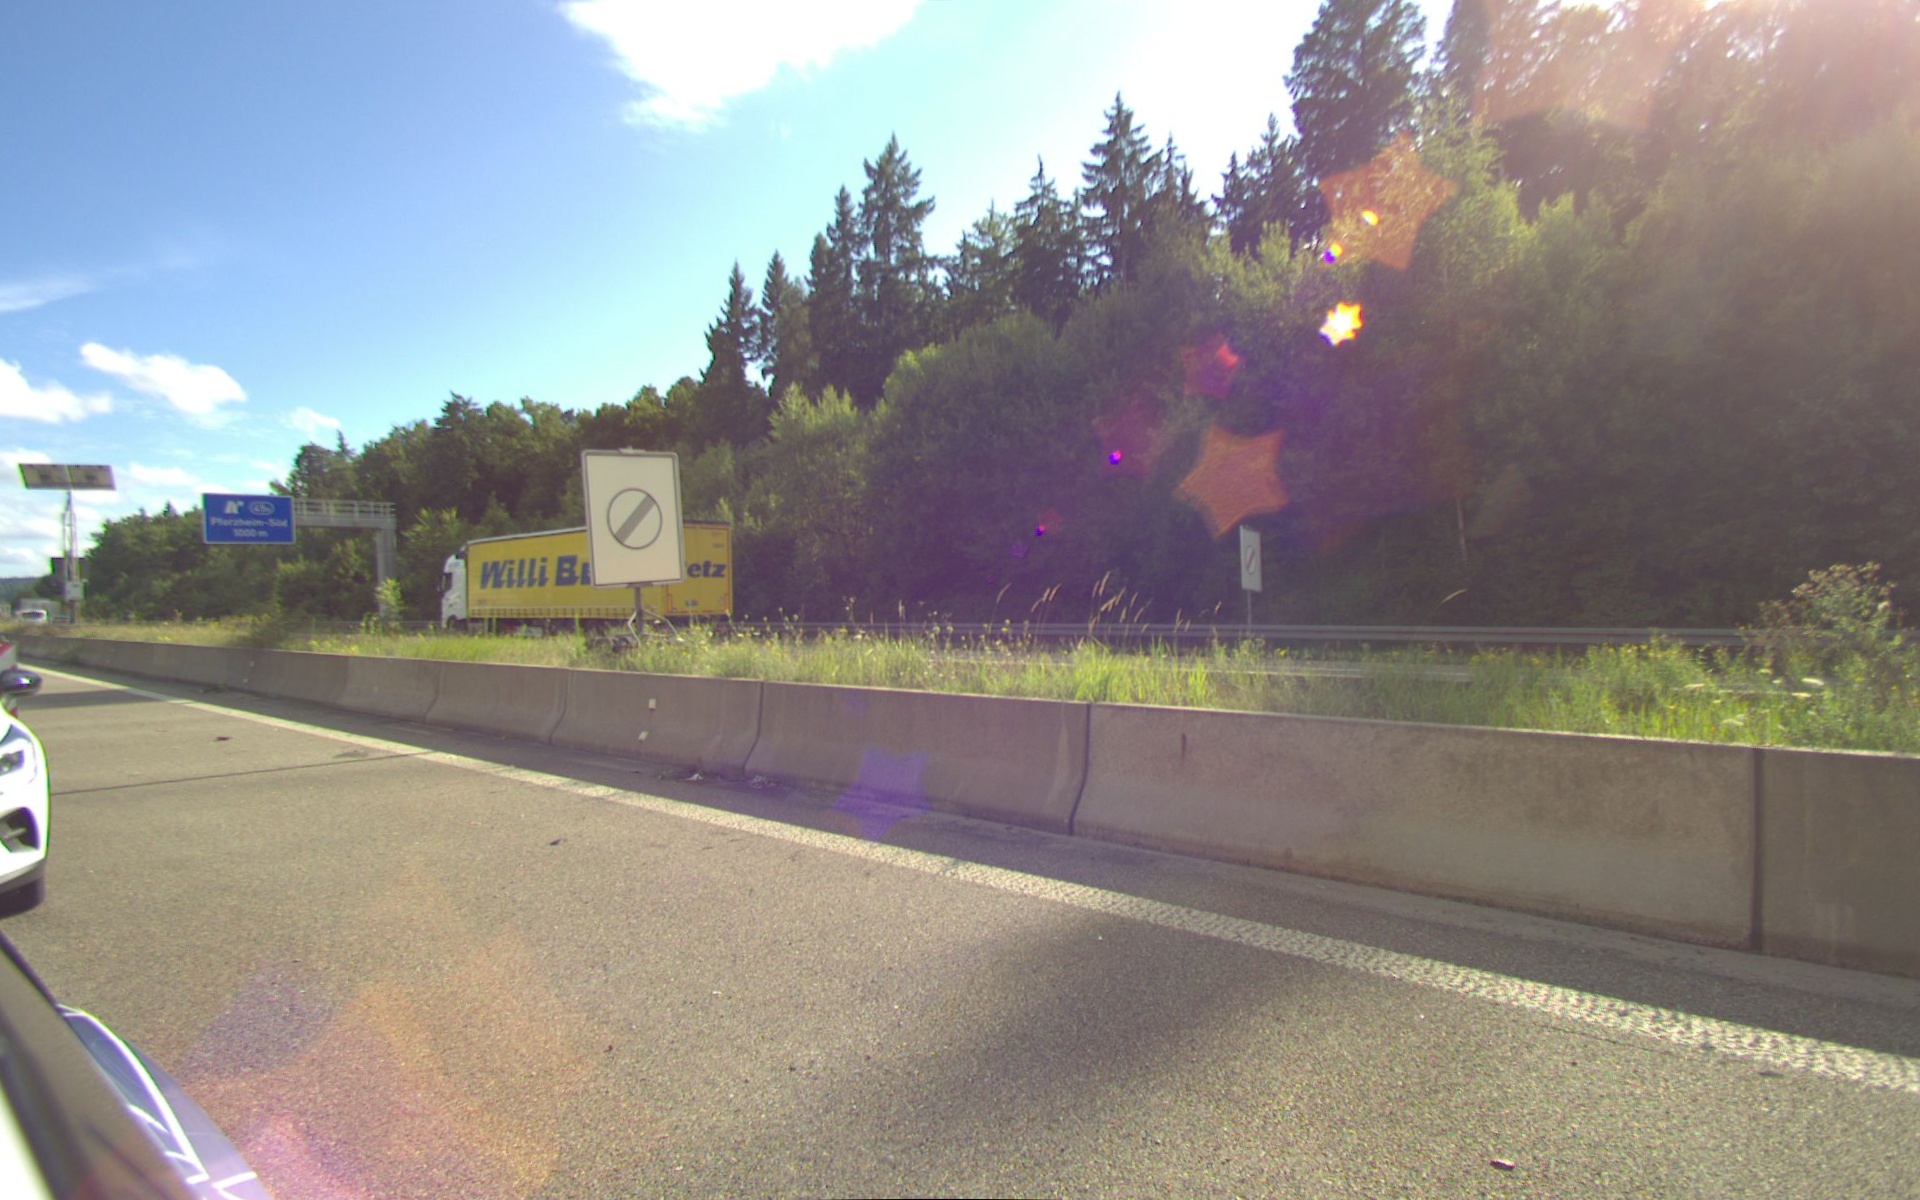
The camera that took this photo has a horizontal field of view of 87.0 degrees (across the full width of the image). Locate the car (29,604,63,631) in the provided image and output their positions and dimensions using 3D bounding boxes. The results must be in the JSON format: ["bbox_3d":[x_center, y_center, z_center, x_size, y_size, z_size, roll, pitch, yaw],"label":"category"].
[{"bbox_3d":[-121.025,2.269,134.020,7.448,3.395,2.461,-1,0,41],"label":"car"}]

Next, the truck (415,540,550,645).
[{"bbox_3d":[-19.389,-0.256,40.957,5.946,3.938,2.797,-1,0,41],"label":"truck"}]

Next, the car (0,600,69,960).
[{"bbox_3d":[-6.038,0.798,5.116,3.881,1.549,1.817,-1,0,41],"label":"car"}]

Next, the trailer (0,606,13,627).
[{"bbox_3d":[-182.471,3.180,192.457,8.484,3.953,2.762,-1,0,41],"label":"trailer"}]

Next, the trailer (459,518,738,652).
[{"bbox_3d":[-13.169,-0.414,35.514,13.934,3.952,2.798,-1,0,41],"label":"trailer"}]

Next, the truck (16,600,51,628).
[{"bbox_3d":[-136.226,2.039,148.723,10.181,4.022,2.771,-1,-1,41],"label":"truck"}]

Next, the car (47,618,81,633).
[{"bbox_3d":[-86.493,2.469,97.654,4.286,1.373,1.938,-1,0,41],"label":"car"}]

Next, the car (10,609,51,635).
[{"bbox_3d":[-77.272,1.788,84.092,4.829,2.029,1.973,-1,0,41],"label":"car"}]
